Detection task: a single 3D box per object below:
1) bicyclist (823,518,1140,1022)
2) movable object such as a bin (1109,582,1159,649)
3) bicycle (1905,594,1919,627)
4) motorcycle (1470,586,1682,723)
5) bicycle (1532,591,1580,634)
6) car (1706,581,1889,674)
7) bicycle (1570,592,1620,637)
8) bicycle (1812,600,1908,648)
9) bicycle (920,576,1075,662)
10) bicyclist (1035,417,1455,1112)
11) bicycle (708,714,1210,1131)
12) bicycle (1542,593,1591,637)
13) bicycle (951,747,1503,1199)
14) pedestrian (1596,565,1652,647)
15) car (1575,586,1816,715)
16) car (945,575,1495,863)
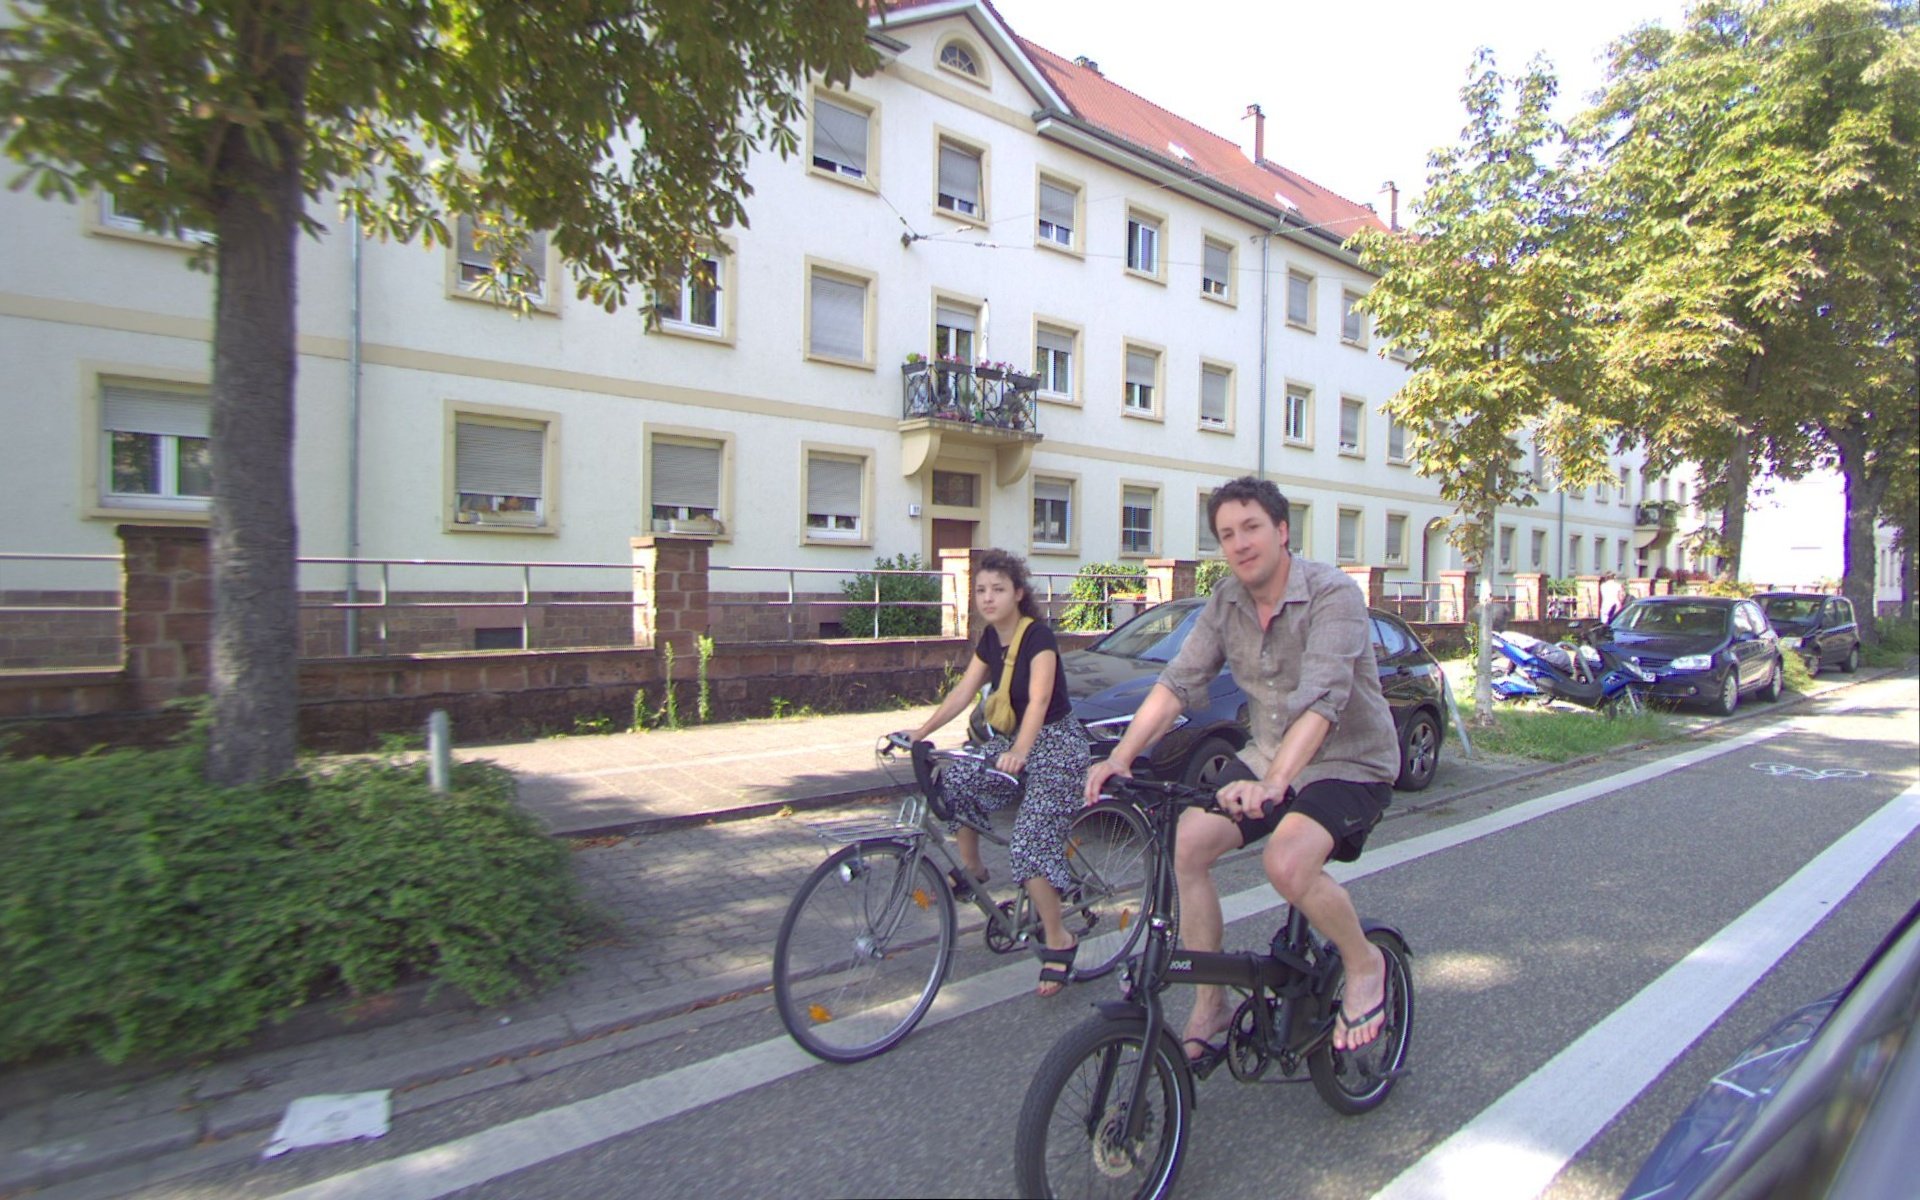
[{"bbox_3d":[0.080,0.503,3.546,0.892,1.493,0.655,0,-1,-40],"label":"bicyclist"},{"bbox_3d":[2.884,0.246,16.787,0.648,1.083,0.508,0,1,-39],"label":"movable object such as a bin"},{"bbox_3d":[33.379,0.349,35.028,2.293,1.117,0.773,0,1,-42],"label":"bicycle"},{"bbox_3d":[7.032,0.596,11.634,0.692,1.306,1.858,7,0,-42],"label":"motorcycle"},{"bbox_3d":[15.646,0.323,26.557,1.697,1.086,0.525,0,1,-39],"label":"bicycle"},{"bbox_3d":[16.055,0.455,19.369,3.768,1.559,1.652,0,3,-34],"label":"car"},{"bbox_3d":[15.959,0.349,25.424,1.697,1.086,0.525,0,1,-39],"label":"bicycle"},{"bbox_3d":[20.834,0.548,23.443,1.697,1.086,0.525,0,0,3],"label":"bicycle"},{"bbox_3d":[0.563,0.243,14.279,2.293,1.117,0.773,0,1,-42],"label":"bicycle"},{"bbox_3d":[0.743,0.332,2.606,0.913,1.419,0.627,0,-1,-40],"label":"bicyclist"},{"bbox_3d":[0.073,0.955,3.529,1.743,0.920,0.655,0,-1,-40],"label":"bicycle"},{"bbox_3d":[15.481,0.367,25.823,1.697,1.086,0.525,0,1,-39],"label":"bicycle"},{"bbox_3d":[0.754,0.947,2.607,1.498,0.920,0.627,0,-1,-40],"label":"bicycle"},{"bbox_3d":[14.725,0.117,22.447,0.861,1.771,0.755,0,0,-33],"label":"pedestrian"},{"bbox_3d":[10.241,0.577,13.986,4.170,1.465,1.650,-1,3,-39],"label":"car"},{"bbox_3d":[2.092,0.617,7.414,4.260,1.452,1.694,0,4,-40],"label":"car"}]
